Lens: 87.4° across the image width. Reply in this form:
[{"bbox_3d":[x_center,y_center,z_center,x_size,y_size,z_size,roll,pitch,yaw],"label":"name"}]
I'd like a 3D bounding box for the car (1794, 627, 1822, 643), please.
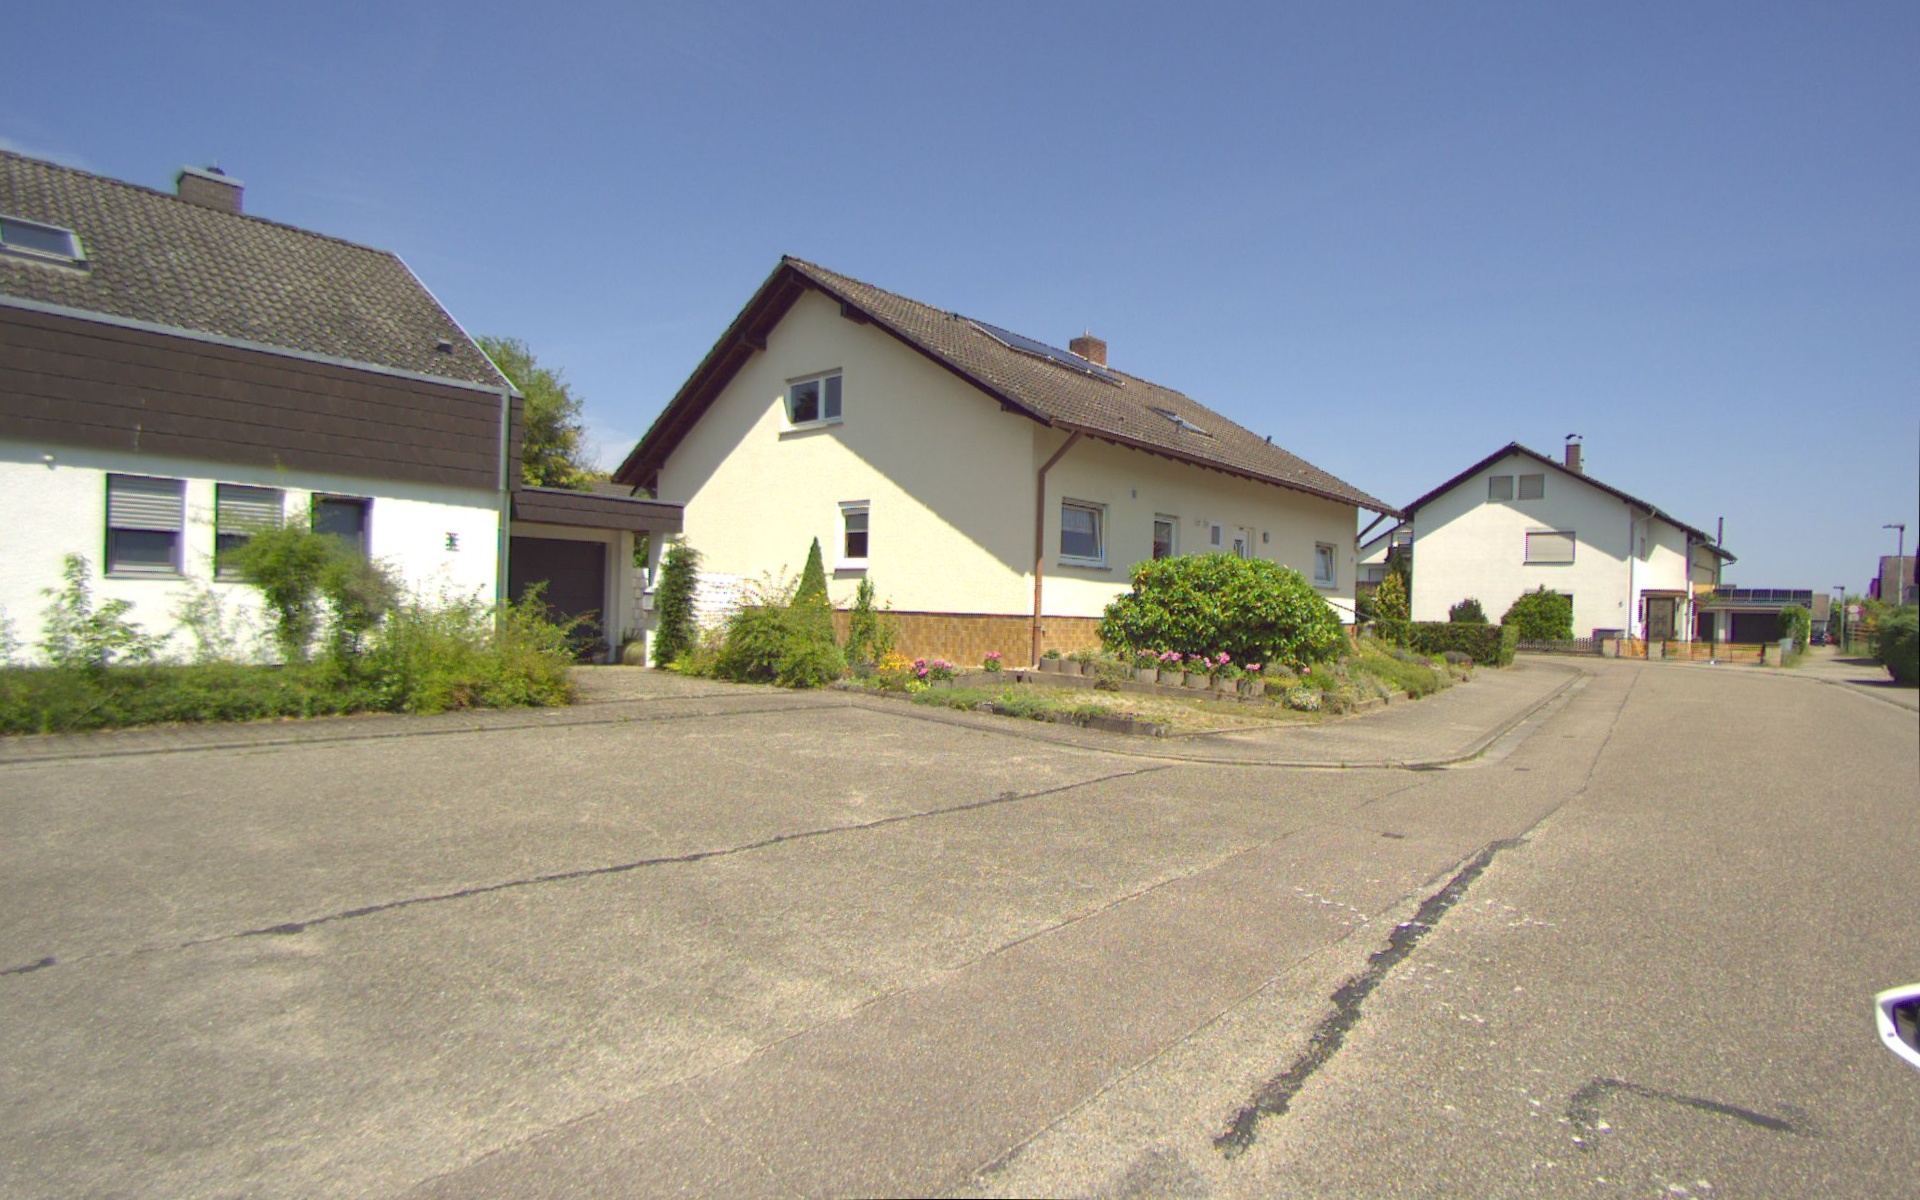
[{"bbox_3d":[93.131,3.854,110.323,2.169,1.724,3.787,1,-1,42],"label":"car"}]
